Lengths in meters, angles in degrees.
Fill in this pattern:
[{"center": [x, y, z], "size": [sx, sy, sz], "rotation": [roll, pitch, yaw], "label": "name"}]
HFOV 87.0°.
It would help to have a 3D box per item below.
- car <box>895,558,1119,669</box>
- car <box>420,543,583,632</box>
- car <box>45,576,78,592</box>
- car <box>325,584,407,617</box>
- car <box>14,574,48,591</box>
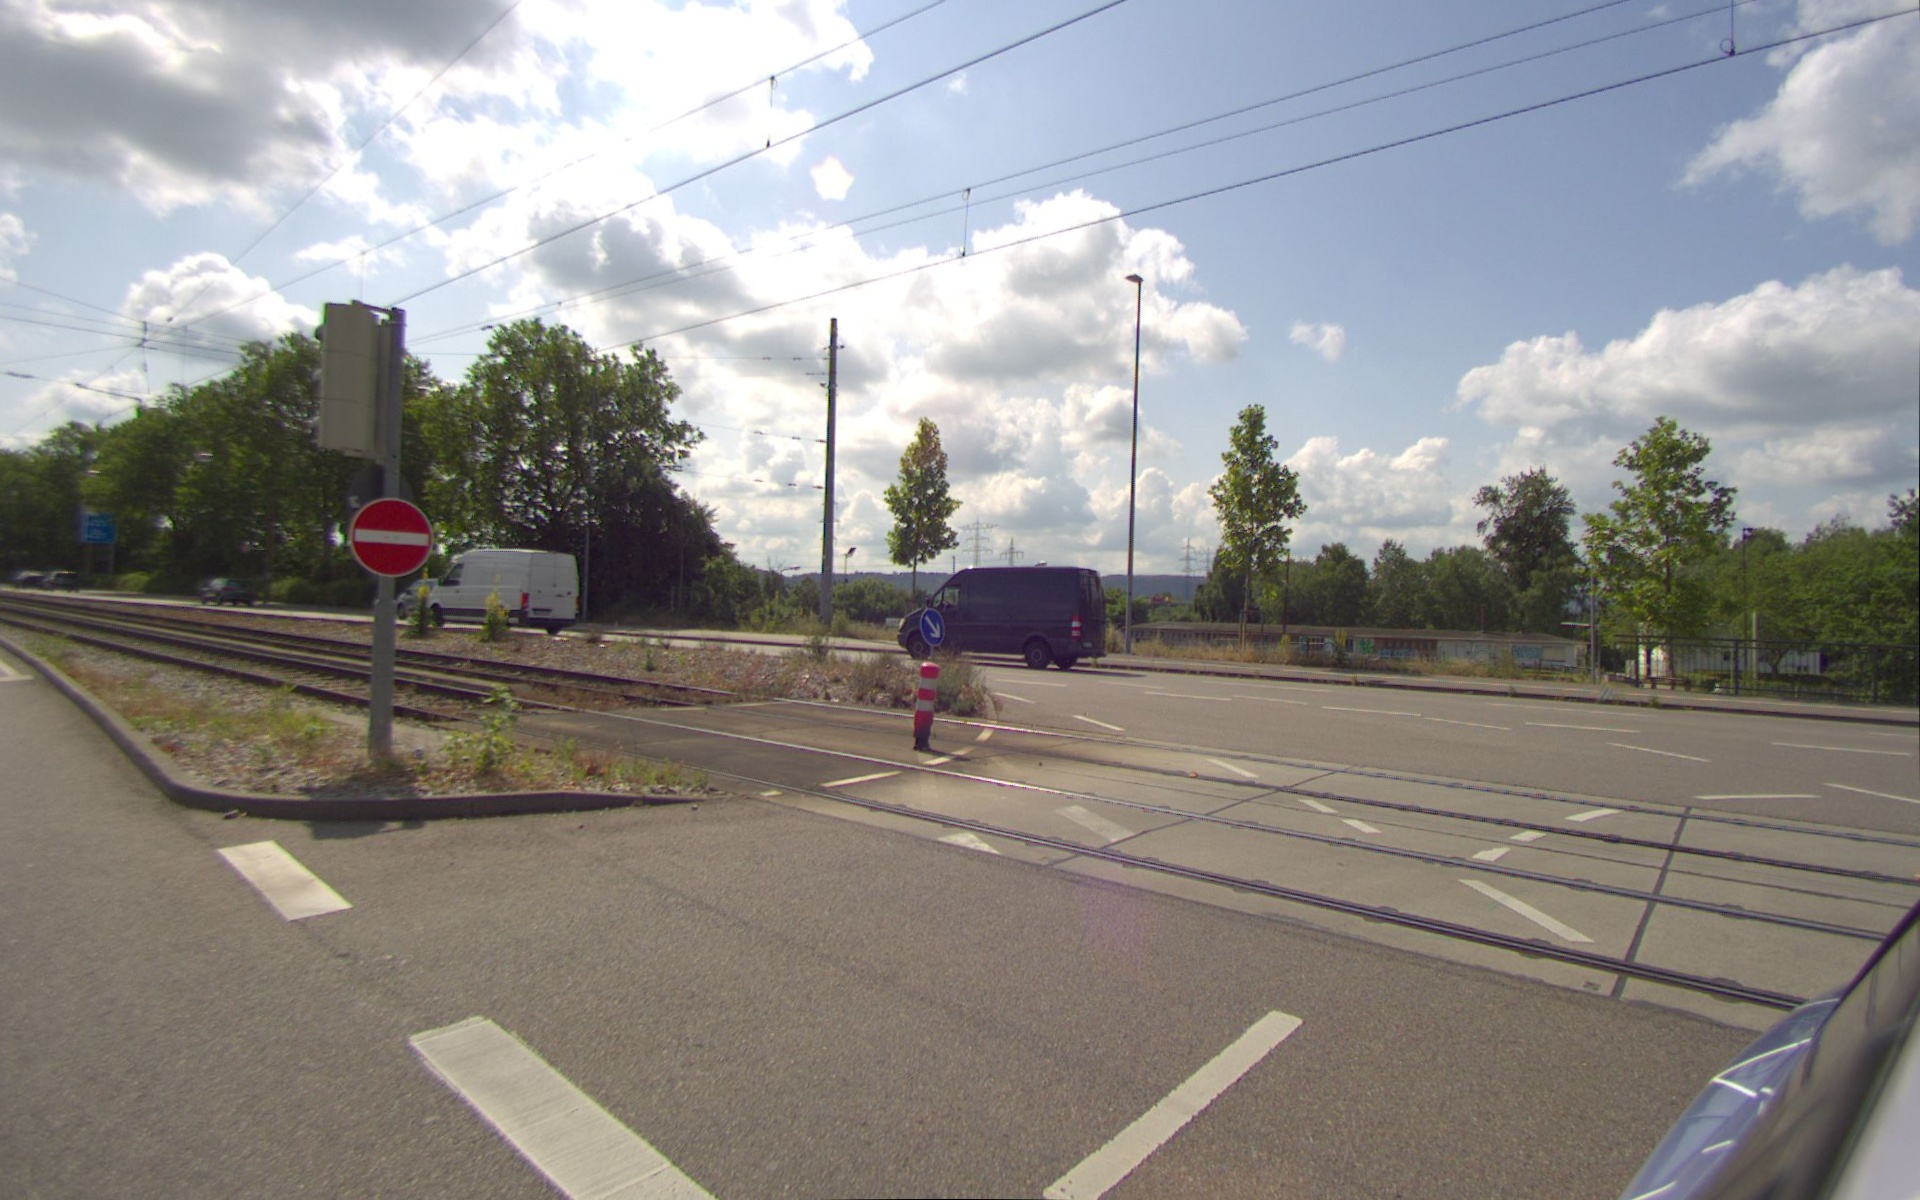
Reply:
[{"center": [1.209, 0.320, 27.171], "size": [5.628, 2.638, 1.971], "rotation": [2, -2, 30], "label": "car"}, {"center": [-14.494, -0.421, 31.852], "size": [5.551, 2.523, 1.936], "rotation": [3, -1, 34], "label": "car"}, {"center": [-72.721, -1.302, 81.881], "size": [3.377, 1.154, 1.407], "rotation": [-1, -2, 38], "label": "car"}, {"center": [-30.548, 0.039, 52.027], "size": [3.968, 1.639, 1.977], "rotation": [-1, -2, 32], "label": "car"}, {"center": [-81.654, -1.525, 88.934], "size": [3.724, 1.383, 1.615], "rotation": [-1, -2, 39], "label": "car"}]
